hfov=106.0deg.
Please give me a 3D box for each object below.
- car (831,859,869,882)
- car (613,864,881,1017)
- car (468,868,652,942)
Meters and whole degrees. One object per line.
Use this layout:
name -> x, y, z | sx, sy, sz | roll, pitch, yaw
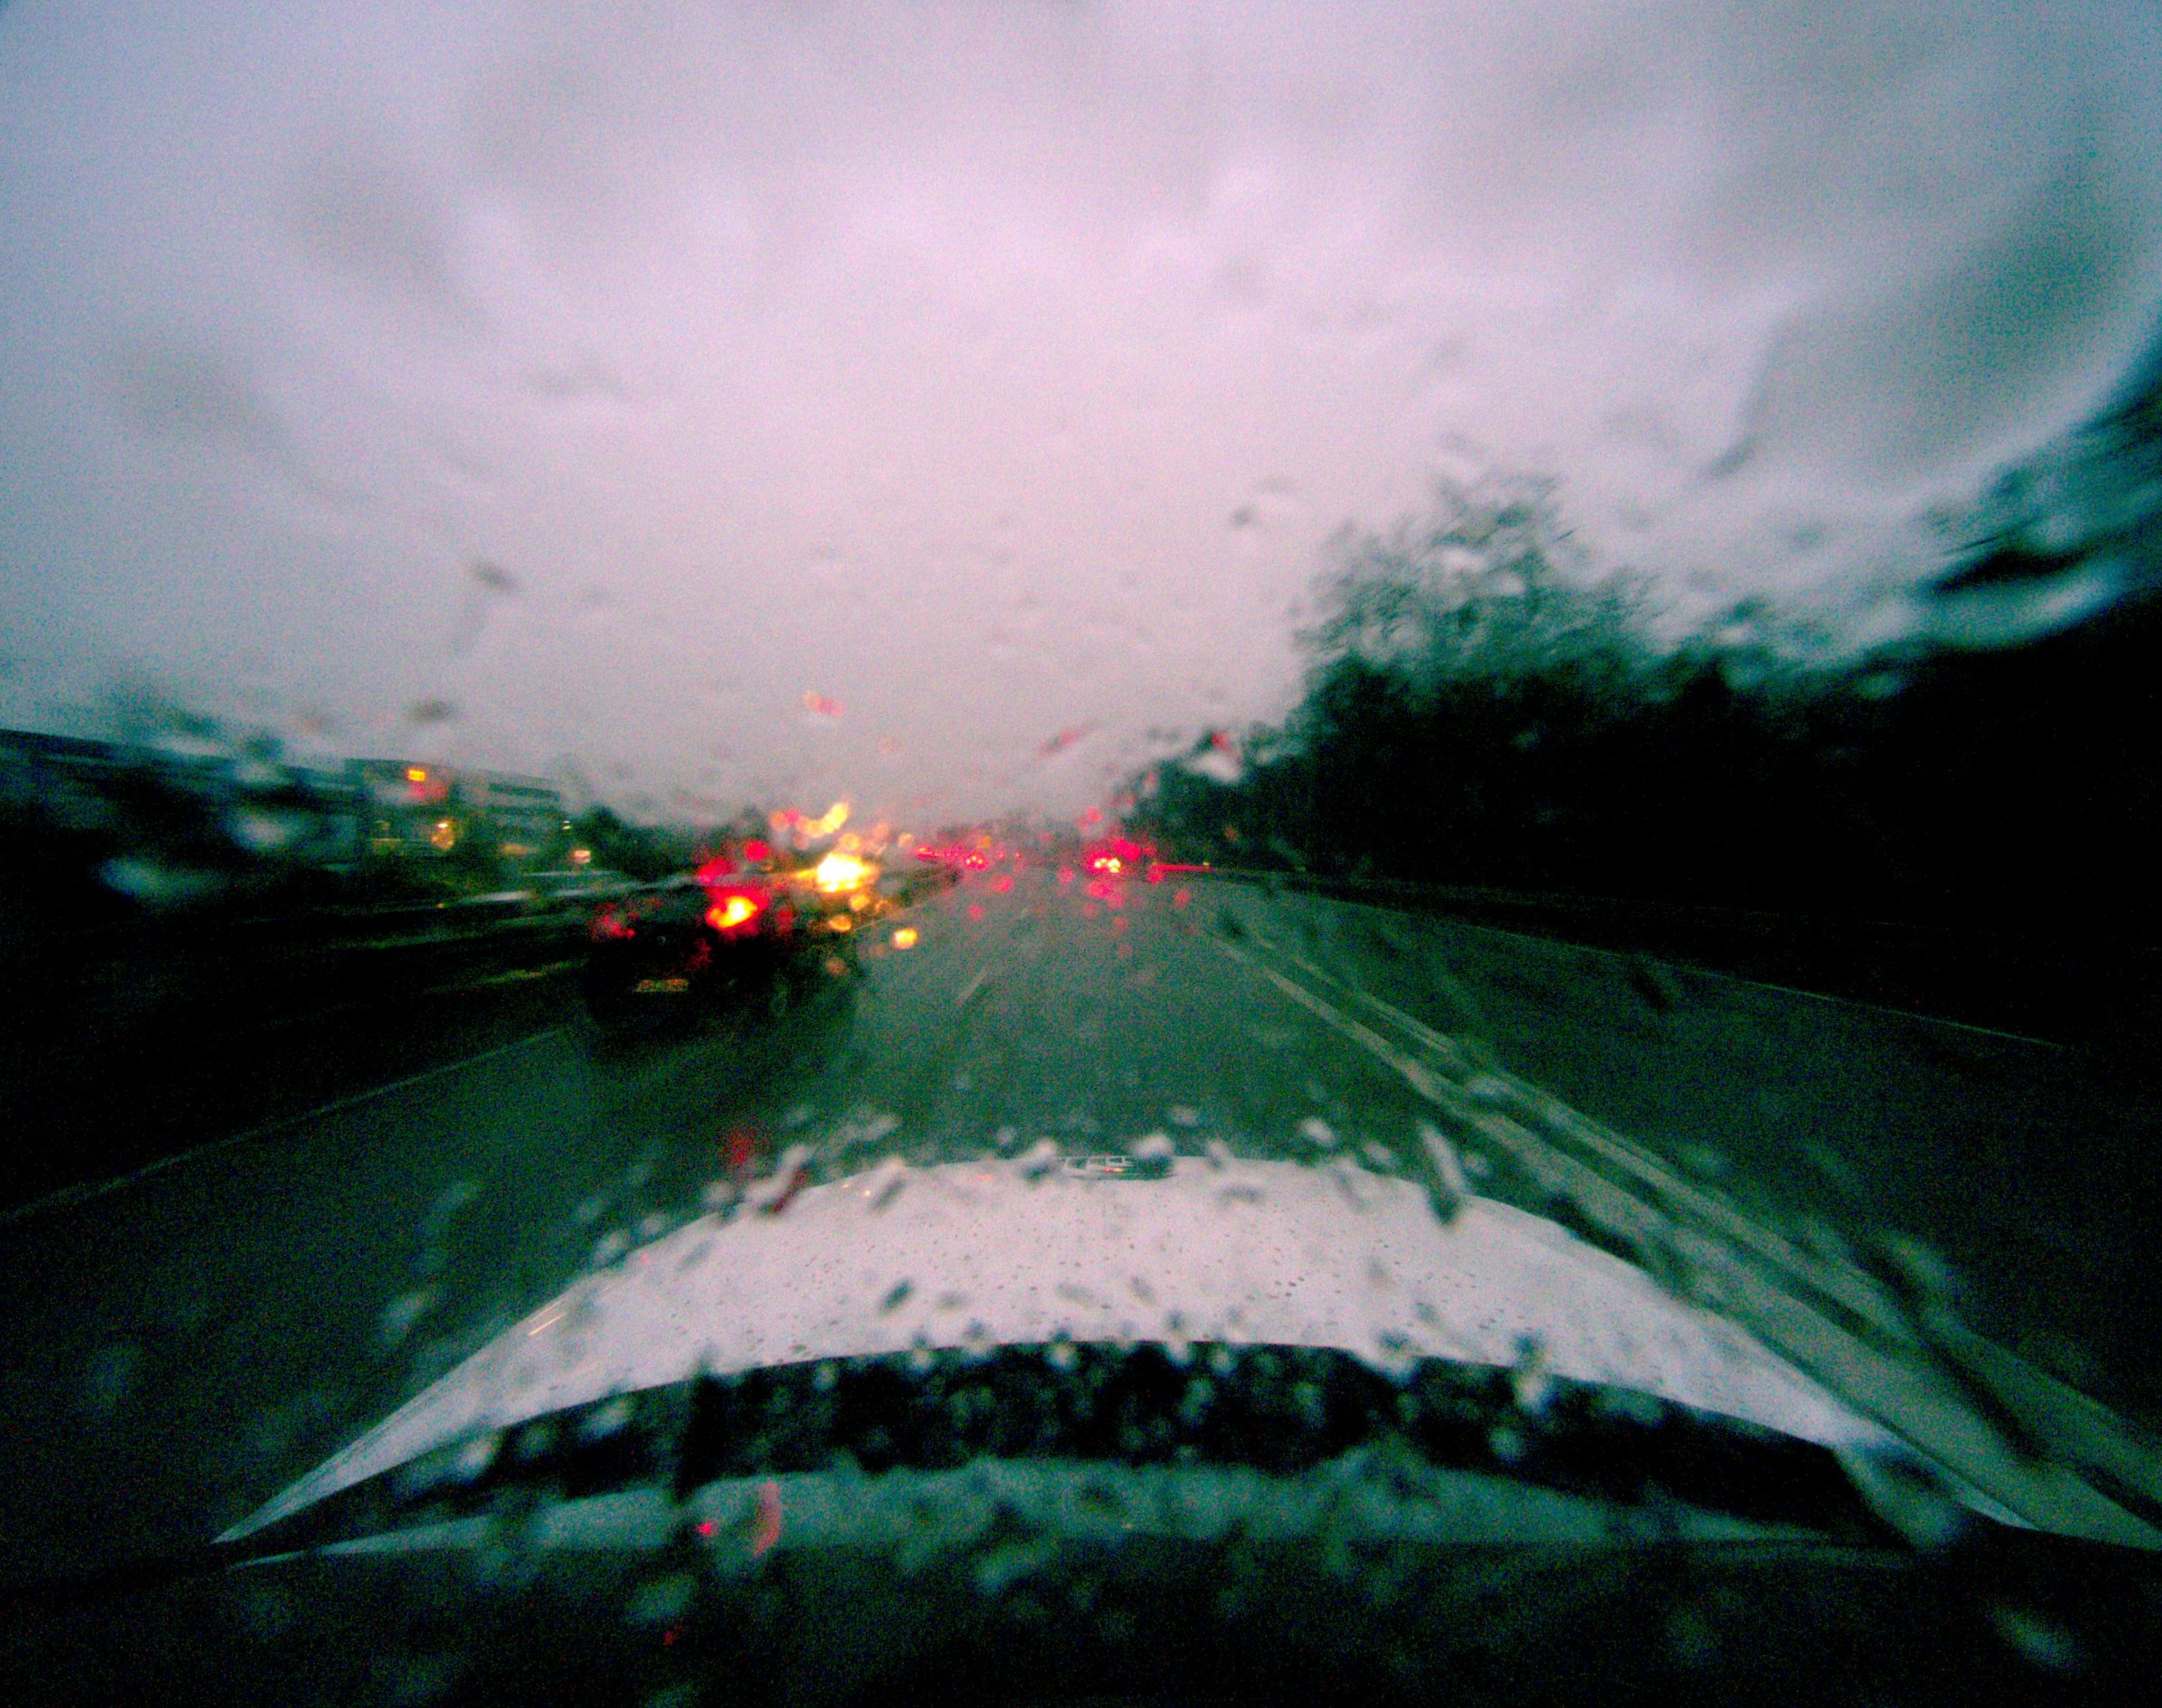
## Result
car -> -18.575, 1.279, 65.695 | 1.989, 1.673, 4.424 | -1, 0, -3
car -> -3.570, 0.847, 9.528 | 1.622, 1.392, 3.995 | 0, -2, -3
car -> -13.739, 1.274, 21.897 | 1.787, 1.683, 4.690 | -2, -1, 2
